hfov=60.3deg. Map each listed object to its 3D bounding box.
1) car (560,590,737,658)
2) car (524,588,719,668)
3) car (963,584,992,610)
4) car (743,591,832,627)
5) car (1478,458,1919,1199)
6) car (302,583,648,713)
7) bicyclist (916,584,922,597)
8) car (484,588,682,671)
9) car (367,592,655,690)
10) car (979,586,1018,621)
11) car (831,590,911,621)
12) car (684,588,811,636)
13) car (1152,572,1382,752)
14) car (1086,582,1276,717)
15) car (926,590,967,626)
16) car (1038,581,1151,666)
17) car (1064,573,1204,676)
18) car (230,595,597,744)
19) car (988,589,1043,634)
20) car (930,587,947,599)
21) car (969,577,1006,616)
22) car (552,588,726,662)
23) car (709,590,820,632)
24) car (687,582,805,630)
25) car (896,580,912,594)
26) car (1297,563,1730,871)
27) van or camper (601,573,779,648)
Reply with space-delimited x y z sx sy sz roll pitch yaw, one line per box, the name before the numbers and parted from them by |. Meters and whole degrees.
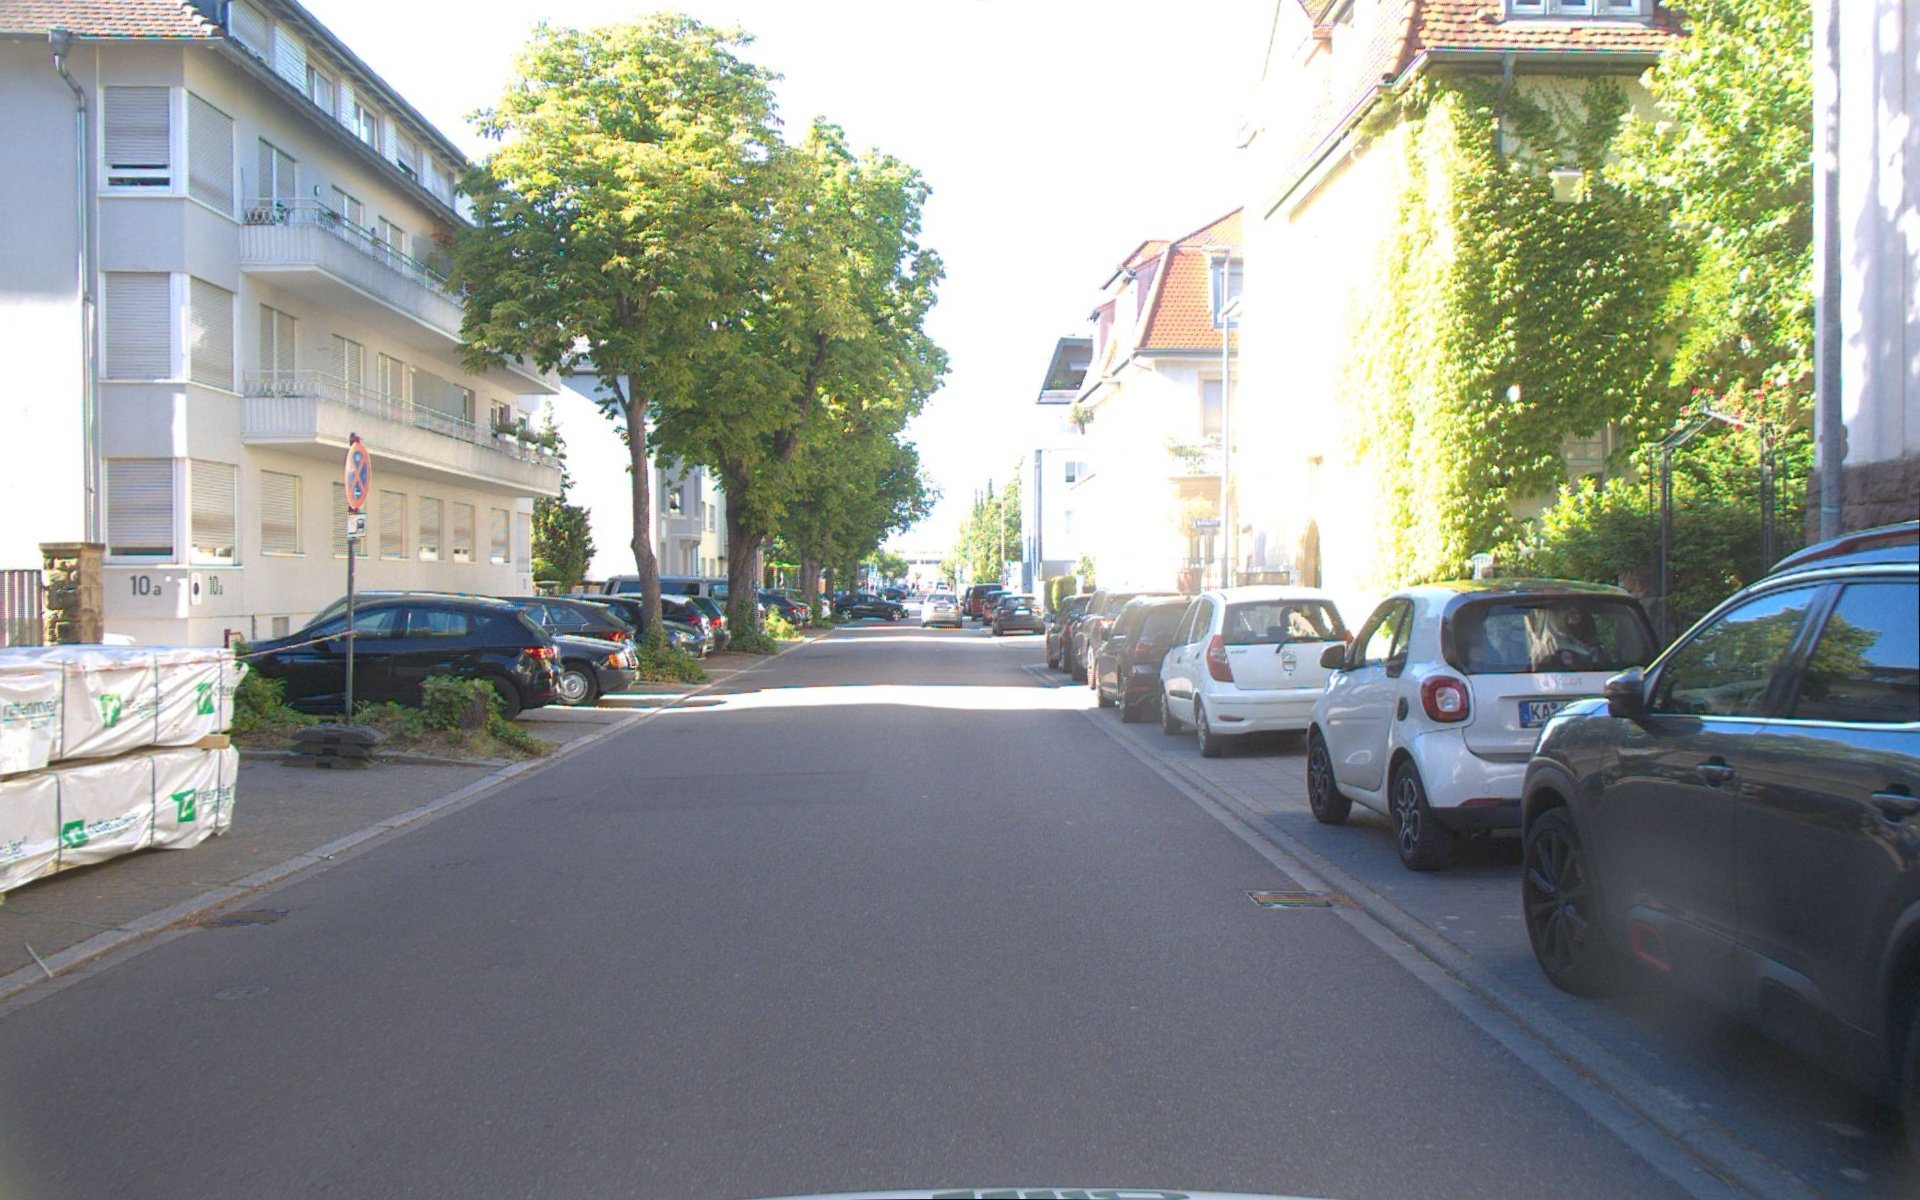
car | -7.204 0.551 38.523 3.844 1.439 1.714 1 1 -4
car | -6.830 0.552 33.620 3.569 1.488 1.710 1 0 1
car | 1.071 -0.186 104.874 1.701 1.558 4.177 -1 0 -1
car | -7.908 0.417 76.081 3.941 1.510 1.806 2 0 -2
car | 3.092 0.565 4.814 1.742 1.726 4.319 2 -1 -1
car | -6.772 0.637 23.576 4.506 1.635 1.829 -1 0 -10
bicyclist | -4.873 -1.095 195.300 0.706 1.563 1.137 -1 0 -1
car | -7.035 0.543 31.108 3.411 1.445 1.708 1 -1 -7
car | -7.045 0.630 26.250 4.103 1.466 1.712 1 0 -3
car | 1.736 0.127 75.722 1.560 1.506 3.246 -2 0 -1
car | -4.671 0.284 86.243 4.107 1.473 1.710 2 -1 -5
car | -7.141 0.394 55.842 4.103 1.525 1.860 -1 0 -3
car | 2.971 0.572 16.636 1.543 1.576 3.467 -2 -1 -2
car | 2.674 0.582 20.891 1.675 1.461 4.191 -2 -1 -2
car | -0.557 0.310 70.797 1.691 1.445 3.960 -1 0 0
car | 2.642 0.466 33.235 1.629 1.547 3.998 -2 -1 -4
car | 2.844 0.406 27.862 1.755 1.547 4.365 -2 -1 -2
car | -6.238 0.754 19.298 3.800 1.540 1.829 -1 0 -10
car | 1.956 0.395 59.183 1.587 1.465 3.933 -3 1 -3
car | -2.561 -0.812 199.757 1.689 1.353 3.995 -1 0 -6
car | 1.429 -0.172 88.231 1.833 1.938 5.197 -1 0 0
car | -6.966 0.533 36.139 3.407 1.483 1.797 1 0 0
car | -7.178 0.406 61.068 3.906 1.494 1.696 -1 0 -2
car | -8.258 0.228 64.233 4.296 1.681 1.823 -2 2 0
car | -7.453 -1.752 220.166 1.752 1.558 4.000 7 1 0
car | 3.162 0.622 9.985 1.592 1.576 2.868 1 -1 -2
van or camper | -7.129 0.276 44.009 4.406 1.948 1.963 0 0 -2
